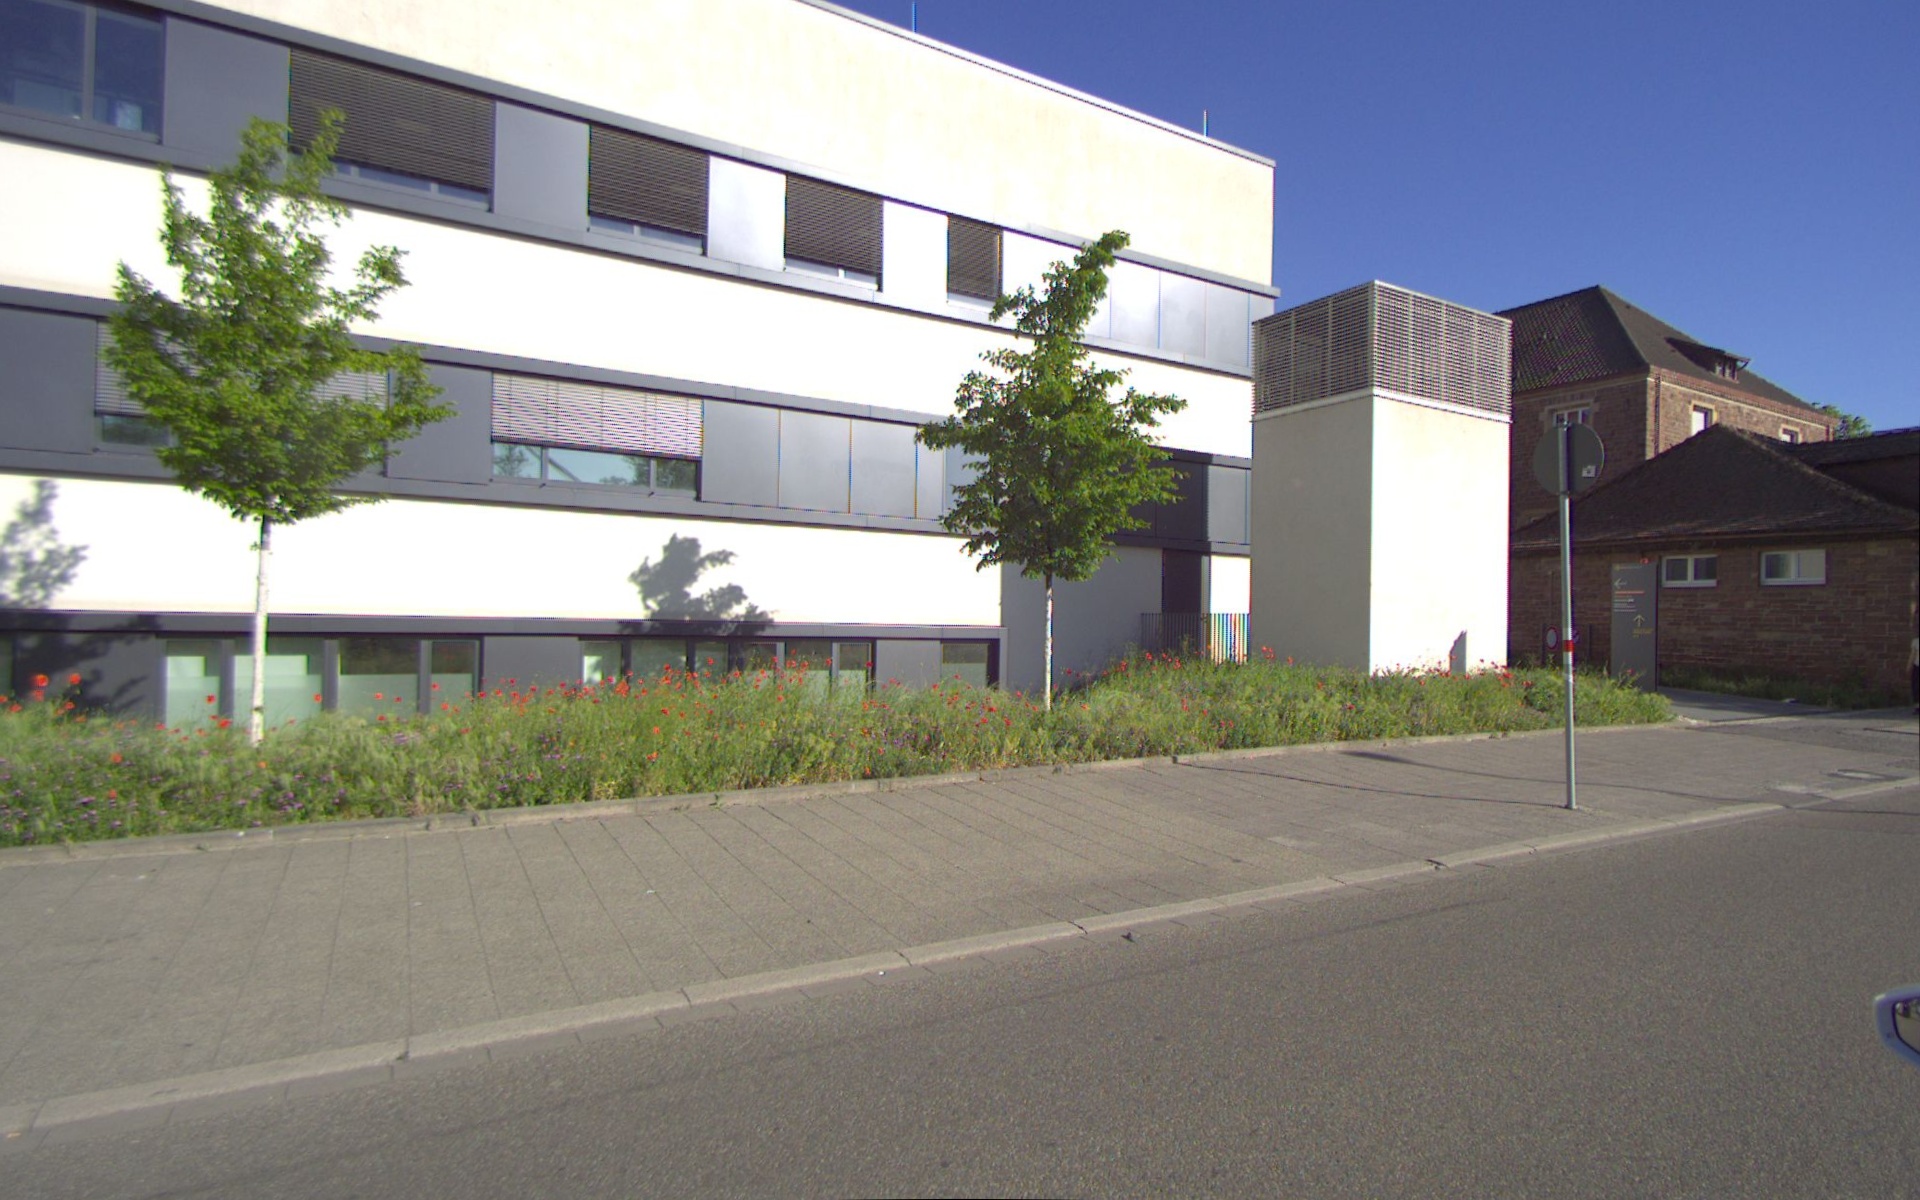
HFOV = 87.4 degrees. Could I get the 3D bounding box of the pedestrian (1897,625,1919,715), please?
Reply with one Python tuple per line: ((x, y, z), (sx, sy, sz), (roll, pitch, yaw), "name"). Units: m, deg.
((17.575, 1.264, 18.262), (1.083, 1.583, 0.518), (1, -1, -31), "pedestrian")
